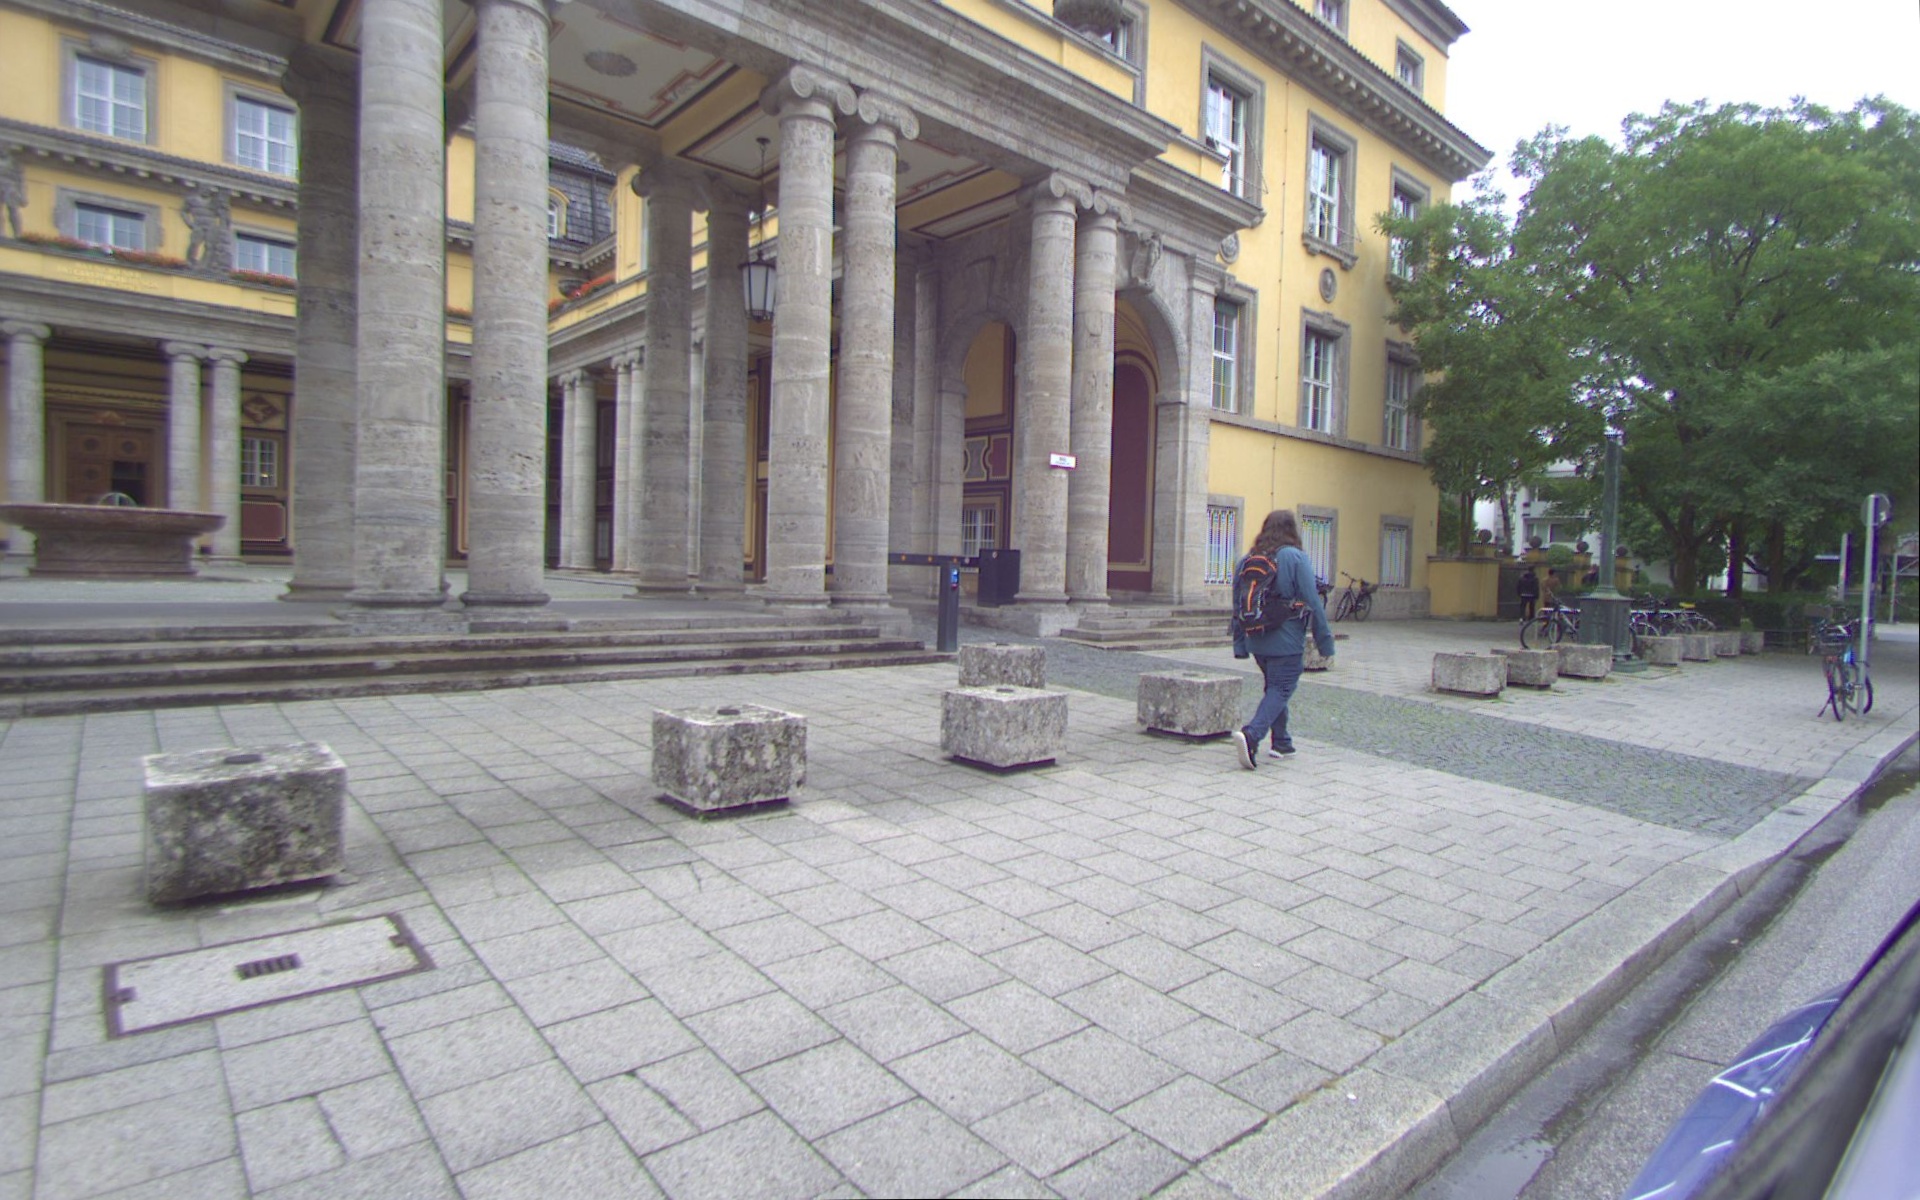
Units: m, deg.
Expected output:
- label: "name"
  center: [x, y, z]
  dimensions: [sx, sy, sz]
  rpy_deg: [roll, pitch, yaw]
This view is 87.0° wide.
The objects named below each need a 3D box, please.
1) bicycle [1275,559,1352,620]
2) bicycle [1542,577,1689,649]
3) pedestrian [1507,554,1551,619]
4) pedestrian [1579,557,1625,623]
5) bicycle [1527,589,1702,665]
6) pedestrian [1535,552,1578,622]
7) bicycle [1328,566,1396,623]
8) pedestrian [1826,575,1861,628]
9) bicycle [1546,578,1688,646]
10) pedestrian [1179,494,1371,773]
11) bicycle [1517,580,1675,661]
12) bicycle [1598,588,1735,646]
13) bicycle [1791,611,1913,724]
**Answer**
- label: "bicycle"
  center: [8.079, -0.246, 23.086]
  dimensions: [2.225, 1.323, 0.601]
  rpy_deg: [0, 3, -42]
- label: "bicycle"
  center: [12.695, 0.224, 19.646]
  dimensions: [2.255, 1.071, 0.593]
  rpy_deg: [10, 7, 38]
- label: "pedestrian"
  center: [16.067, -0.400, 28.571]
  dimensions: [0.827, 1.764, 0.741]
  rpy_deg: [-1, 5, -41]
- label: "pedestrian"
  center: [19.131, -0.315, 30.166]
  dimensions: [1.017, 1.887, 0.782]
  rpy_deg: [-1, 5, -41]
- label: "bicycle"
  center: [11.025, 0.417, 17.113]
  dimensions: [2.361, 1.018, 0.668]
  rpy_deg: [7, 4, 41]
- label: "pedestrian"
  center: [16.528, -0.369, 28.037]
  dimensions: [0.807, 1.887, 0.659]
  rpy_deg: [-1, 5, -41]
- label: "bicycle"
  center: [9.804, -0.142, 24.631]
  dimensions: [2.128, 1.323, 0.601]
  rpy_deg: [0, 3, -42]
- label: "pedestrian"
  center: [29.512, 0.049, 33.816]
  dimensions: [0.649, 1.753, 0.797]
  rpy_deg: [-1, 0, -42]
- label: "bicycle"
  center: [13.218, 0.217, 20.412]
  dimensions: [2.255, 1.035, 0.593]
  rpy_deg: [10, 7, 38]
- label: "pedestrian"
  center: [2.192, 0.192, 7.036]
  dimensions: [1.038, 1.767, 0.789]
  rpy_deg: [0, 3, -42]
- label: "bicycle"
  center: [11.417, 0.338, 18.217]
  dimensions: [2.255, 1.107, 0.593]
  rpy_deg: [10, 7, 38]
- label: "bicycle"
  center: [15.009, 0.340, 21.575]
  dimensions: [0.591, 1.023, 2.264]
  rpy_deg: [1, 4, -38]
- label: "bicycle"
  center: [10.439, 0.730, 11.818]
  dimensions: [2.225, 1.113, 0.762]
  rpy_deg: [0, 5, -42]
